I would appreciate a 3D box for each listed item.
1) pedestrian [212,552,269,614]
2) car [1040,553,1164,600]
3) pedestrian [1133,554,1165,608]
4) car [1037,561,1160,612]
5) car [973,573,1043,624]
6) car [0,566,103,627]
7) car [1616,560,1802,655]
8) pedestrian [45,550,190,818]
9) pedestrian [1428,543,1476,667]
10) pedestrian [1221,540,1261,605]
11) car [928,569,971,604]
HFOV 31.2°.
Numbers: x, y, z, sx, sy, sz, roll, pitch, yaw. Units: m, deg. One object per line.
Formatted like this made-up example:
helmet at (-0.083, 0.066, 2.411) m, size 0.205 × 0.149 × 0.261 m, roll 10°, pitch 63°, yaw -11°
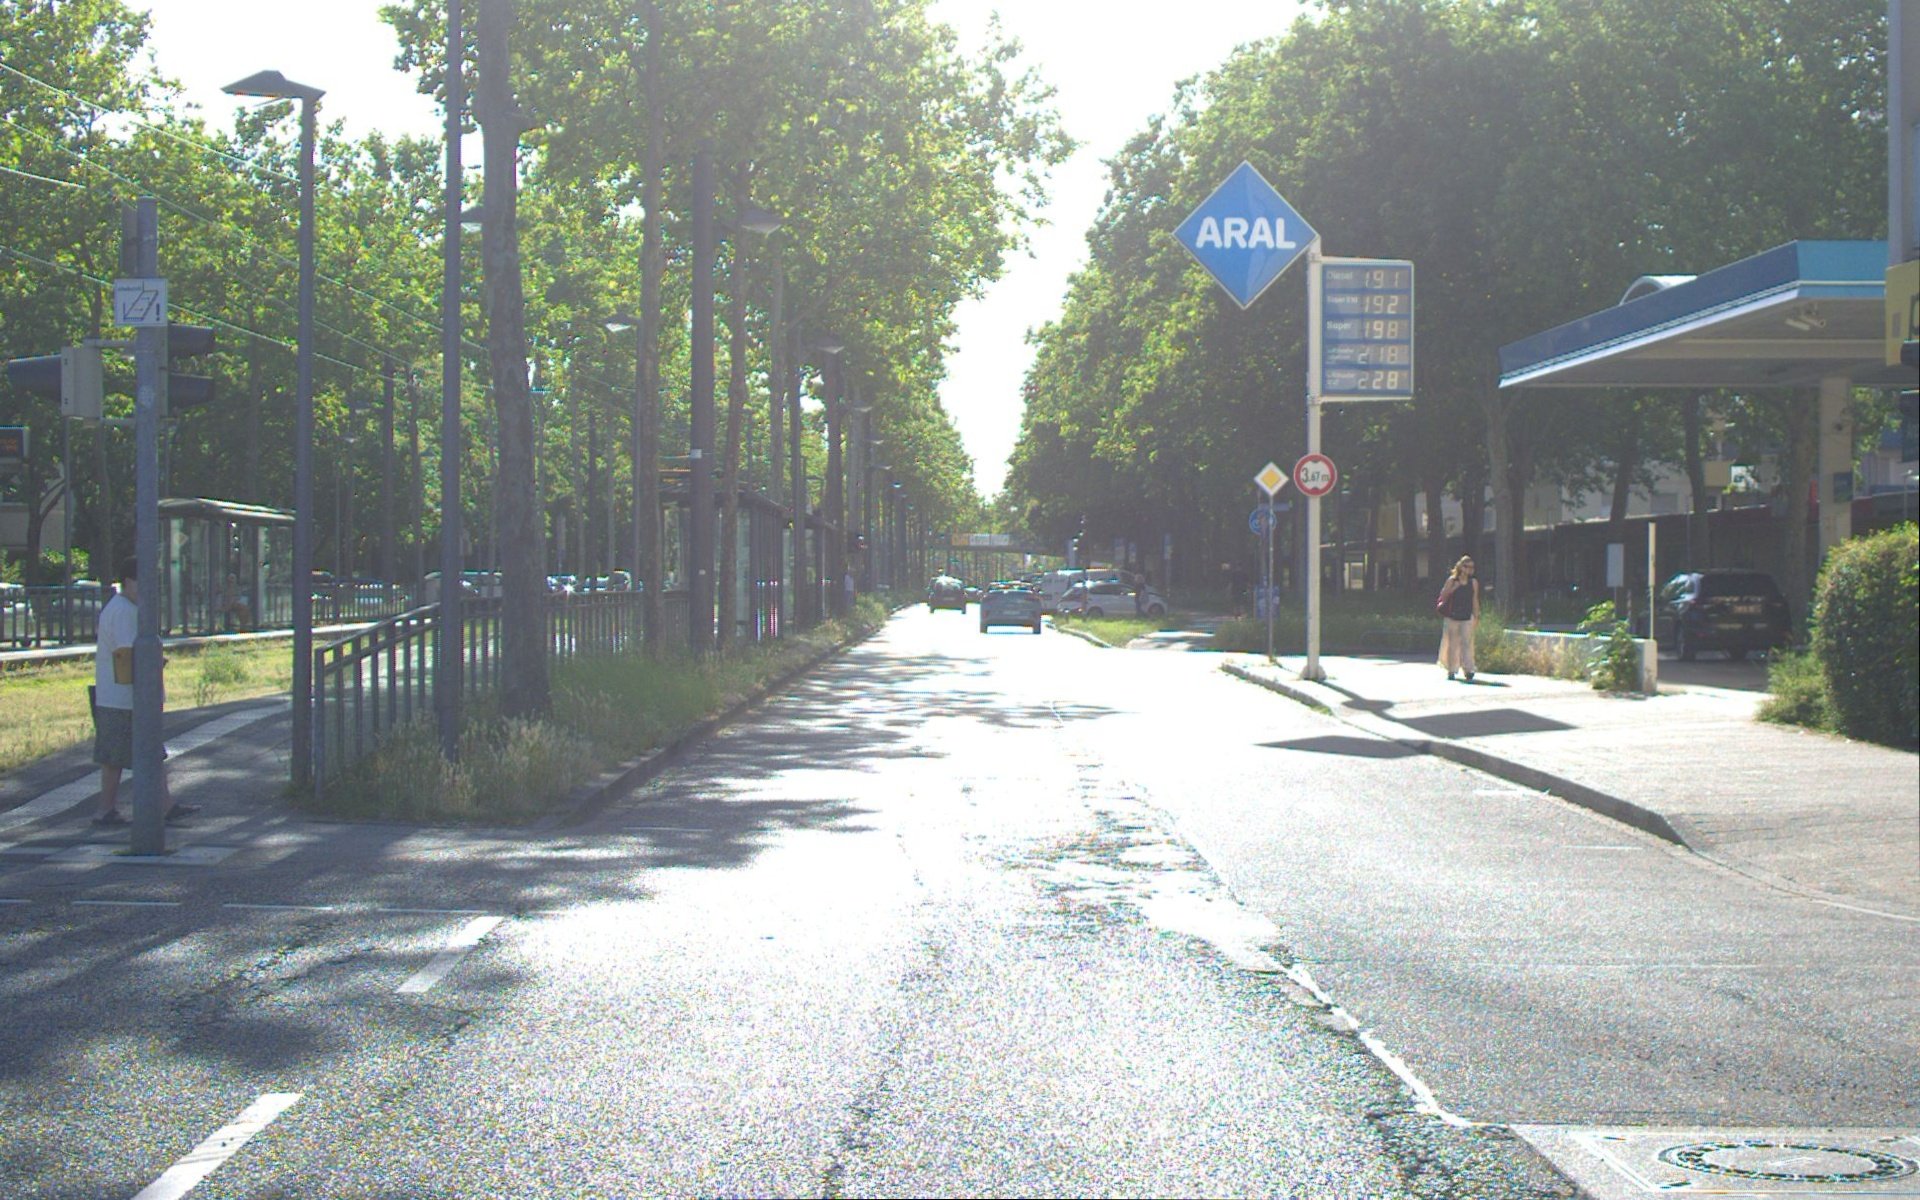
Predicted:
pedestrian at (-15.024, -0.355, 71.801) m, size 0.838 × 1.256 × 0.798 m, roll 1°, pitch 1°, yaw 29°
car at (5.025, -0.820, 121.463) m, size 3.985 × 1.464 × 1.761 m, roll -3°, pitch 1°, yaw -31°
pedestrian at (6.049, -0.600, 110.059) m, size 0.710 × 1.700 × 0.654 m, roll -2°, pitch 0°, yaw -34°
car at (5.321, -0.531, 131.955) m, size 4.657 × 1.846 × 1.830 m, roll -2°, pitch 1°, yaw -40°
car at (1.381, -0.054, 99.497) m, size 1.922 × 1.406 × 4.000 m, roll 1°, pitch 1°, yaw 0°
car at (-24.106, -0.102, 90.971) m, size 1.714 × 1.540 × 4.200 m, roll 0°, pitch 1°, yaw 1°
car at (11.881, 0.098, 54.761) m, size 1.720 × 1.458 × 4.006 m, roll 0°, pitch 1°, yaw -6°
pedestrian at (-4.887, 0.474, 19.934) m, size 0.658 × 1.523 × 0.539 m, roll 0°, pitch 0°, yaw -37°
pedestrian at (6.776, 0.066, 47.369) m, size 0.604 × 1.696 × 0.552 m, roll 0°, pitch 1°, yaw 4°
pedestrian at (8.088, -0.795, 98.960) m, size 0.925 × 1.878 × 0.800 m, roll 0°, pitch 1°, yaw -14°
car at (-0.464, -0.593, 153.623) m, size 1.849 × 1.530 × 3.866 m, roll 0°, pitch 1°, yaw 1°
